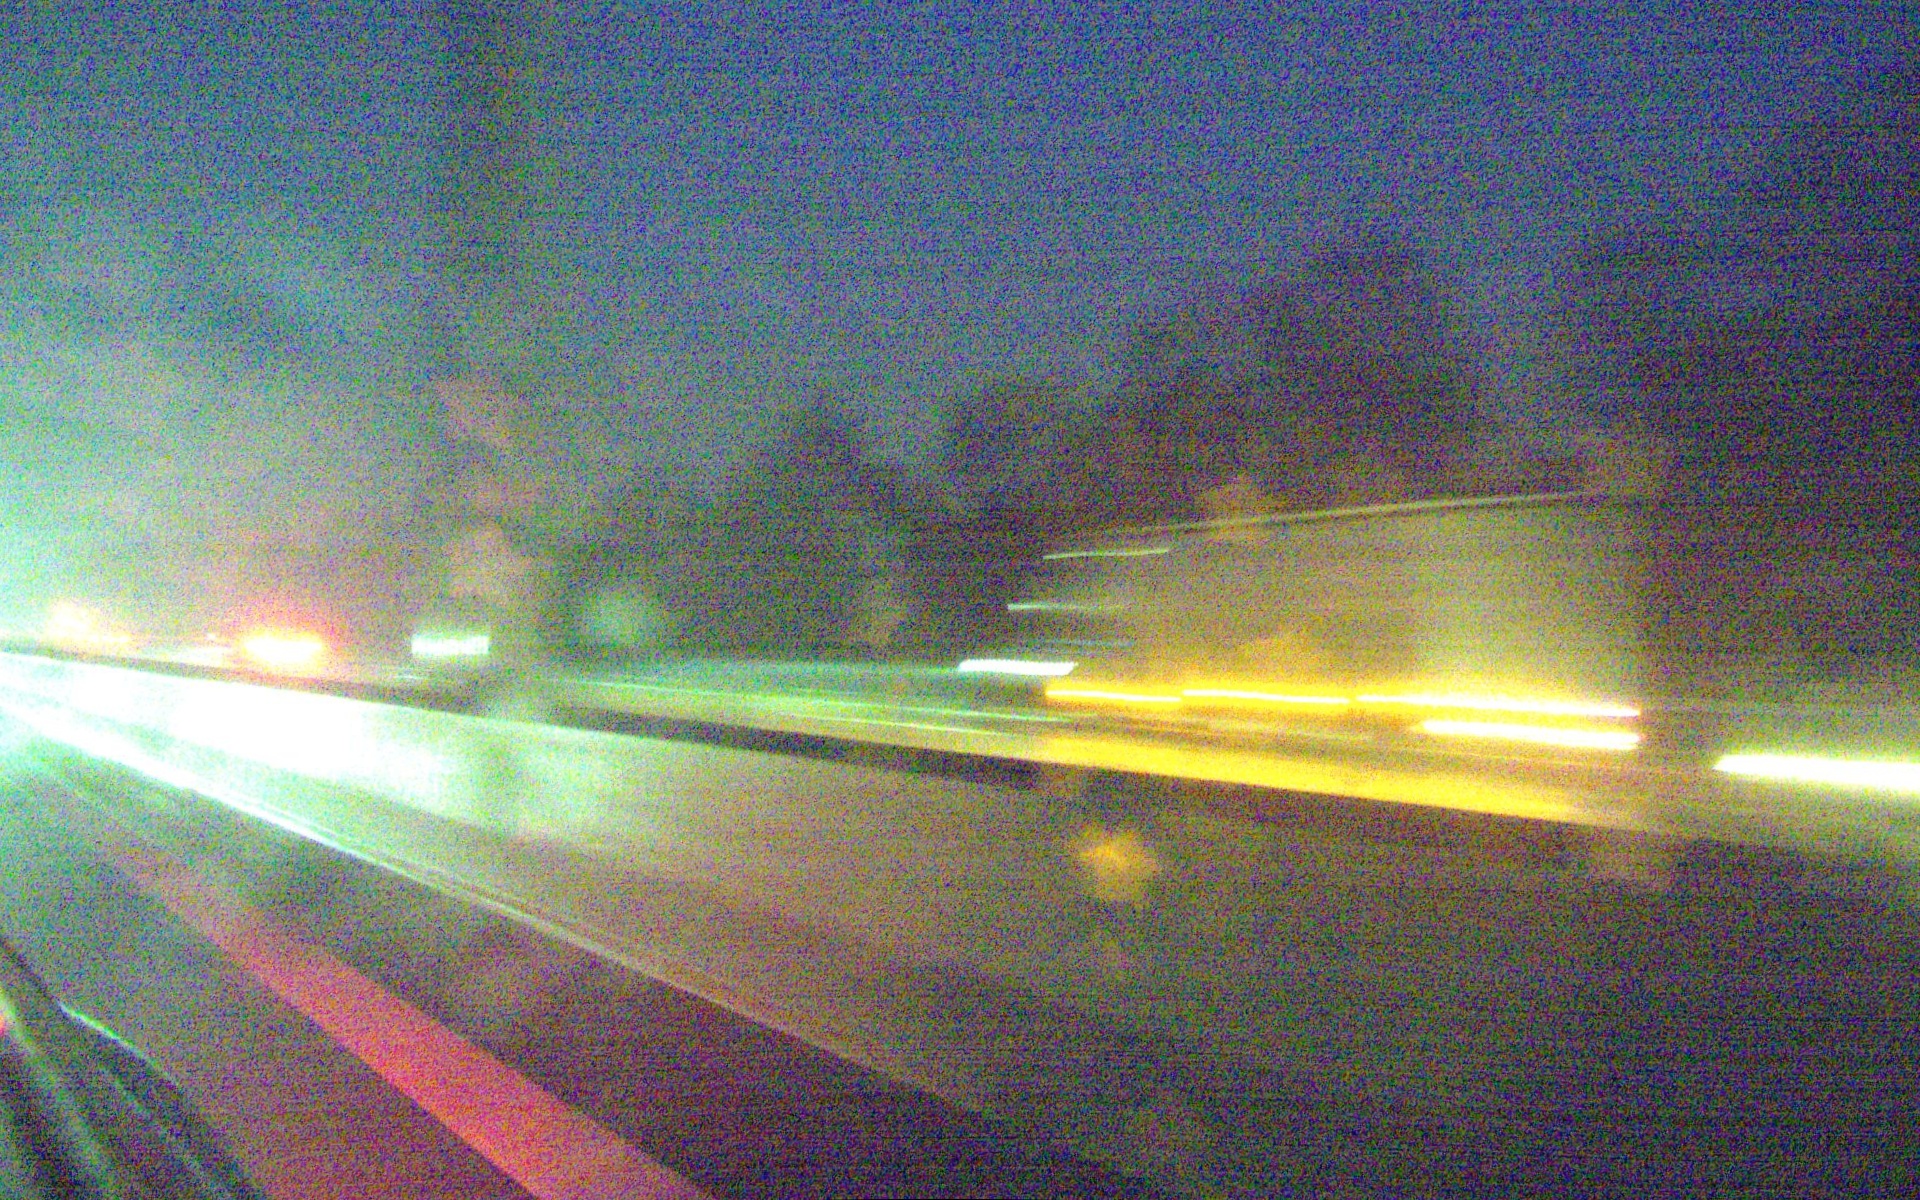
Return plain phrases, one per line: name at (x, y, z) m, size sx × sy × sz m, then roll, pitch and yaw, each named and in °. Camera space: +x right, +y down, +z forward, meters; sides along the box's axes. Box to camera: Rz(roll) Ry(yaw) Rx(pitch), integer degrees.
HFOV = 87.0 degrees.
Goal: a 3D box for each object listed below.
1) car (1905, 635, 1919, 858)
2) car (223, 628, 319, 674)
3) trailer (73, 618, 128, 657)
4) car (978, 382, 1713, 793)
car at (9.432, 1.152, 7.111) m, size 3.999 × 1.697 × 1.896 m, roll 0°, pitch -2°, yaw 42°
car at (-26.873, 1.927, 39.408) m, size 4.807 × 1.675 × 1.972 m, roll -1°, pitch -3°, yaw 42°
trailer at (-88.851, 3.850, 104.564) m, size 8.697 × 3.930 × 2.828 m, roll -2°, pitch -2°, yaw 40°
car at (5.531, -0.005, 16.644) m, size 10.593 × 4.764 × 3.666 m, roll -2°, pitch -1°, yaw 42°
